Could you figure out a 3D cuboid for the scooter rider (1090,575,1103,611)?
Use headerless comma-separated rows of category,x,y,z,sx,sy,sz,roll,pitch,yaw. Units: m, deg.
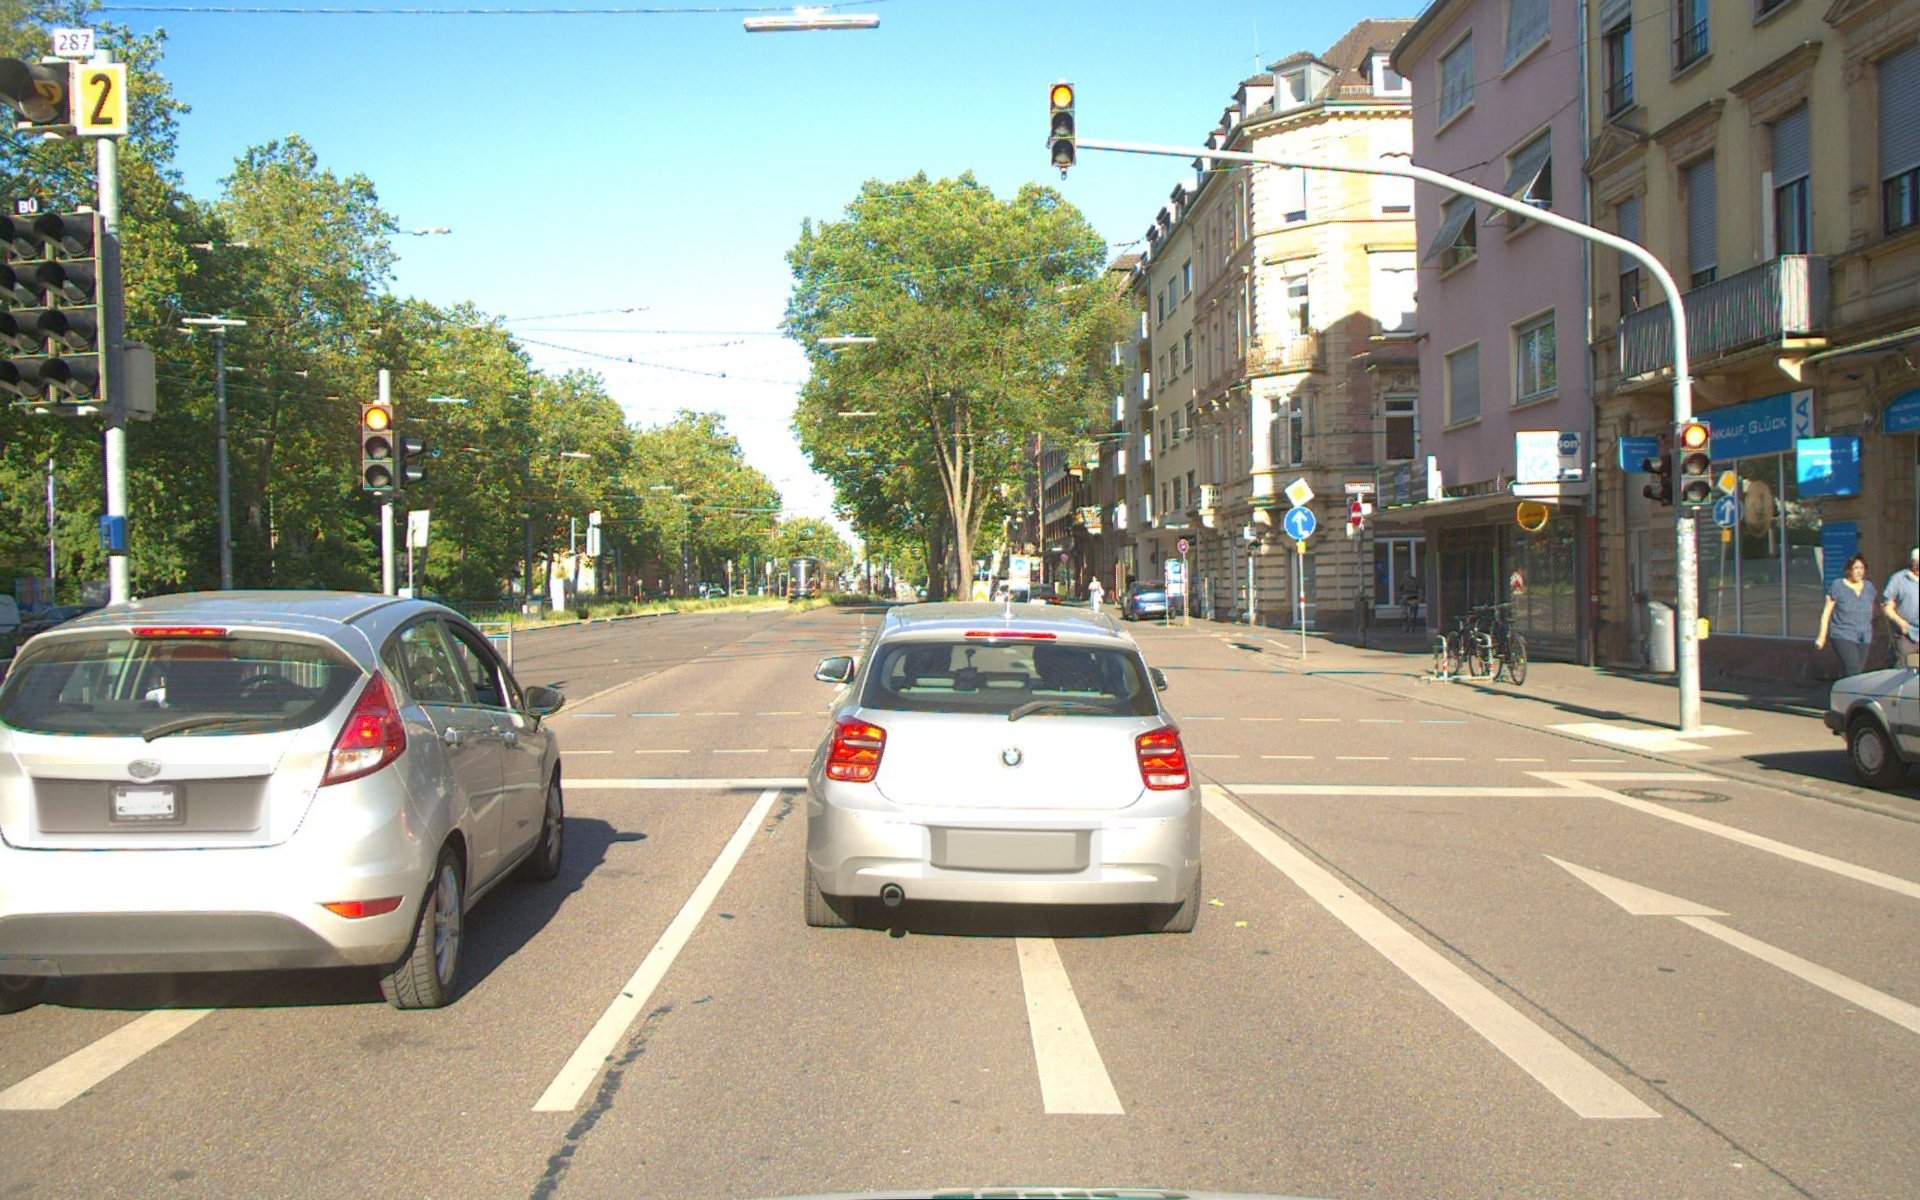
scooter rider,5.808,-0.308,70.290,0.455,1.531,0.811,-1,0,12

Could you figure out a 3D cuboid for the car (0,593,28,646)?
car,-29.346,0.601,48.637,1.636,1.536,4.143,-1,1,-2

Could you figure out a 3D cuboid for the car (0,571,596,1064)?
car,-2.618,0.640,7.038,1.578,1.493,3.886,-1,1,-5

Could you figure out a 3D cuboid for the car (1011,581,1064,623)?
car,2.753,0.043,59.297,1.700,1.458,3.677,0,1,-1

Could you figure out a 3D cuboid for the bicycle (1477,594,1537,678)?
bicycle,8.082,0.511,24.488,0.439,1.179,1.759,-1,1,5

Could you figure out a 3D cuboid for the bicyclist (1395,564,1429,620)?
bicyclist,12.455,-0.234,45.582,0.538,1.528,0.956,-1,1,40

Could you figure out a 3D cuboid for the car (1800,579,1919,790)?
car,7.608,0.594,11.342,1.531,1.440,4.003,-4,1,-1

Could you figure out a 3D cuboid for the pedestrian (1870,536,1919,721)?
pedestrian,9.772,0.270,16.817,0.659,1.837,0.530,-3,1,-1

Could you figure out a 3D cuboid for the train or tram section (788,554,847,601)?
train or tram section,-12.649,-2.028,148.670,3.924,3.933,17.486,-1,1,-1

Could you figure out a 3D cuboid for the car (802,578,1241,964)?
car,0.212,0.649,8.494,1.705,1.493,3.999,1,1,-1

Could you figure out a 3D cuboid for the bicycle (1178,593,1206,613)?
bicycle,9.167,0.107,65.448,0.739,0.784,1.944,-1,1,-2

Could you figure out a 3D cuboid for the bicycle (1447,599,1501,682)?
bicycle,7.593,0.578,24.485,0.405,1.160,1.811,0,1,5

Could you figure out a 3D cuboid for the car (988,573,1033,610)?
car,2.131,-0.374,70.313,1.690,1.533,3.553,0,1,-2

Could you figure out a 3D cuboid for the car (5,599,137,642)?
car,-29.396,0.662,54.846,1.897,1.372,4.847,-1,0,-2

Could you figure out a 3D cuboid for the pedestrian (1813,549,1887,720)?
pedestrian,9.157,0.348,17.026,0.538,1.738,0.388,-1,0,2

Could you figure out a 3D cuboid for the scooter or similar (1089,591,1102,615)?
scooter or similar,5.761,0.131,70.329,0.330,1.005,1.285,-1,1,14

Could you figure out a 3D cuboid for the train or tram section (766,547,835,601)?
train or tram section,-12.473,-2.038,131.235,3.888,3.933,17.486,-1,1,-1

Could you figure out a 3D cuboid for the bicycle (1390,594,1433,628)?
bicycle,12.425,0.297,45.545,0.642,0.919,1.331,0,1,41

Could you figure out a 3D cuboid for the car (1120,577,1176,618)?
car,7.359,-0.113,65.066,1.700,1.546,3.635,0,1,-2
